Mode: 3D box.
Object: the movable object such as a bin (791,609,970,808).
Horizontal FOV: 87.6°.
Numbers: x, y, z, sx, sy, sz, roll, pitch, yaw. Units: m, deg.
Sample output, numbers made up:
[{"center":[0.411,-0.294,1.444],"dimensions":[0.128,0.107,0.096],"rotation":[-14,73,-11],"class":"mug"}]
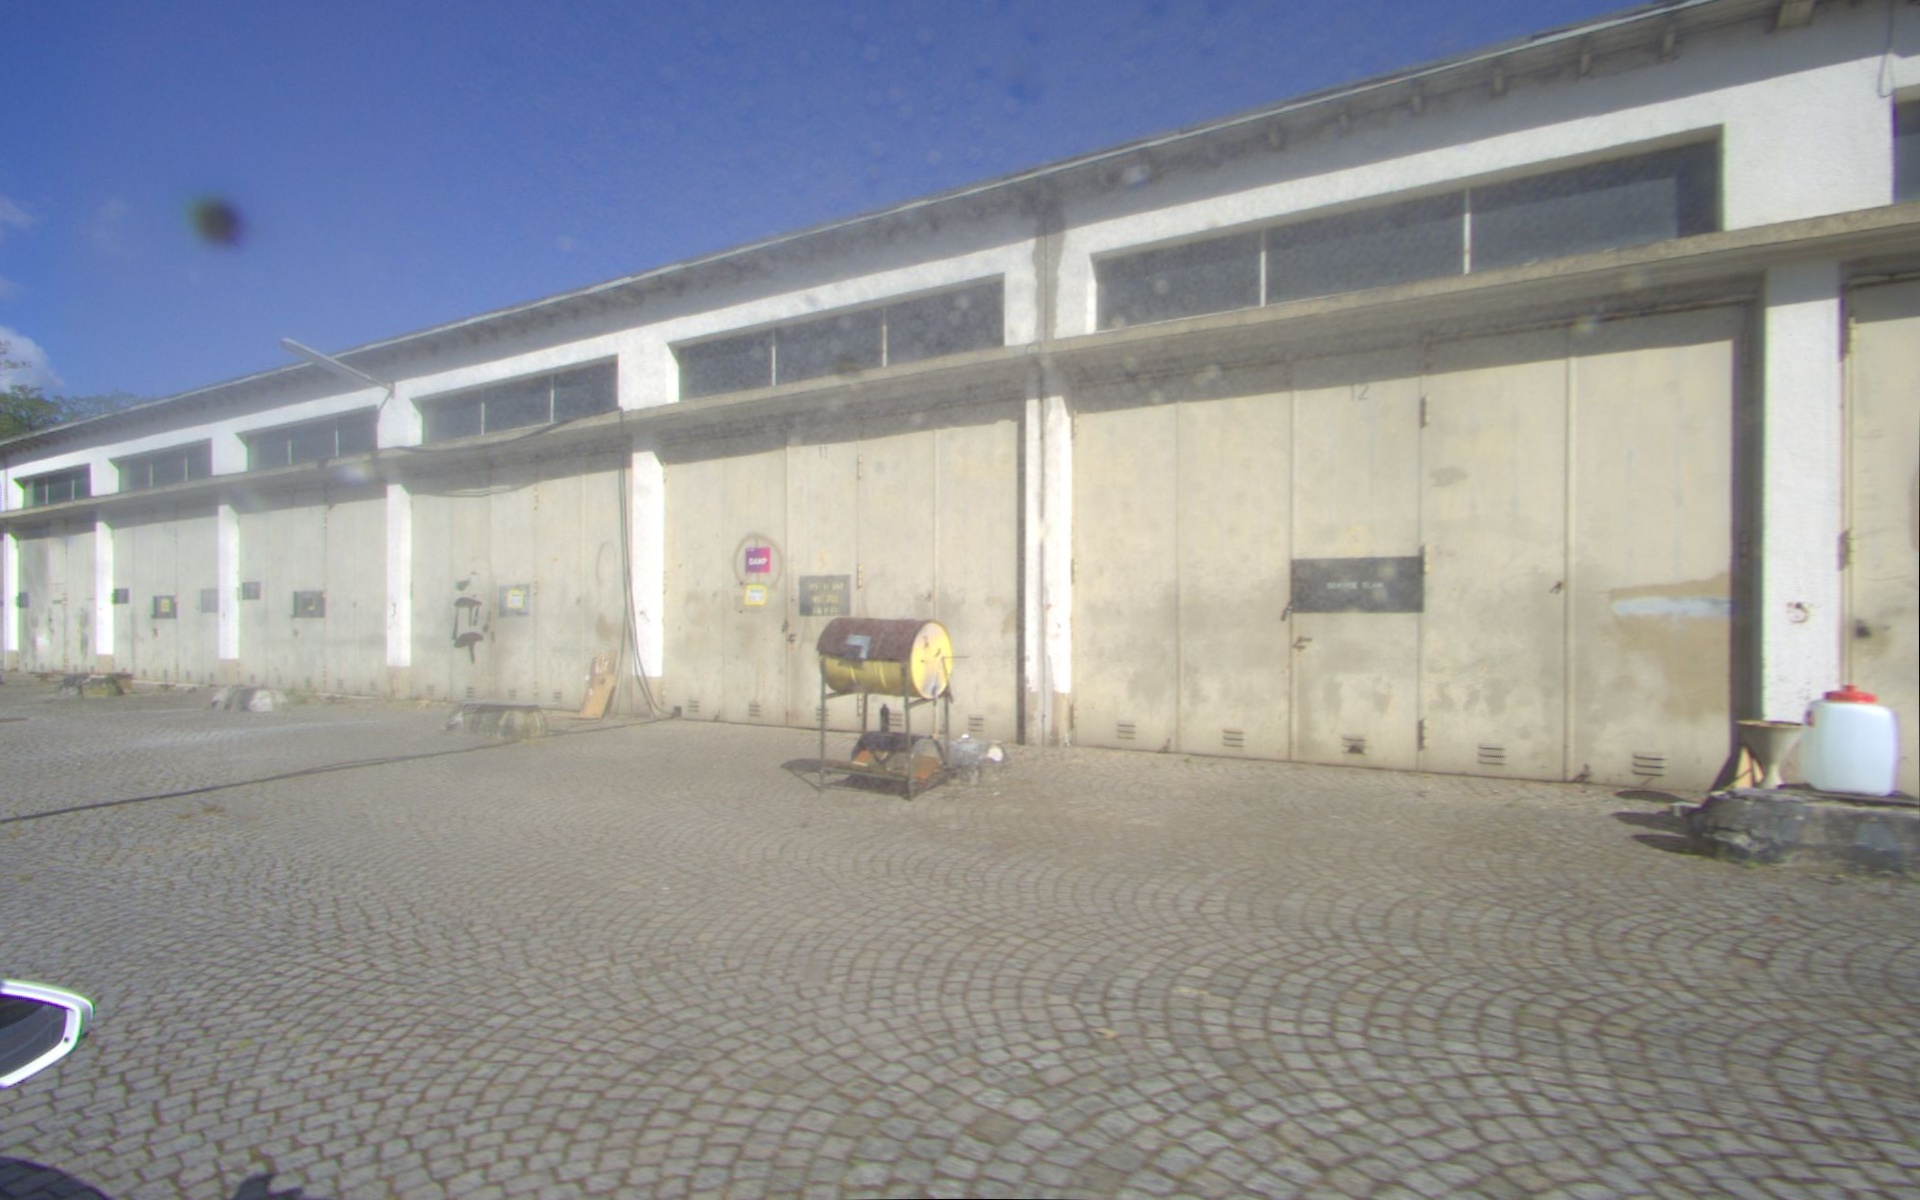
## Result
[{"center":[-0.607,0.792,7.799],"dimensions":[1.085,1.419,0.874],"rotation":[0,-1,30],"class":"movable object such as a bin"}]
